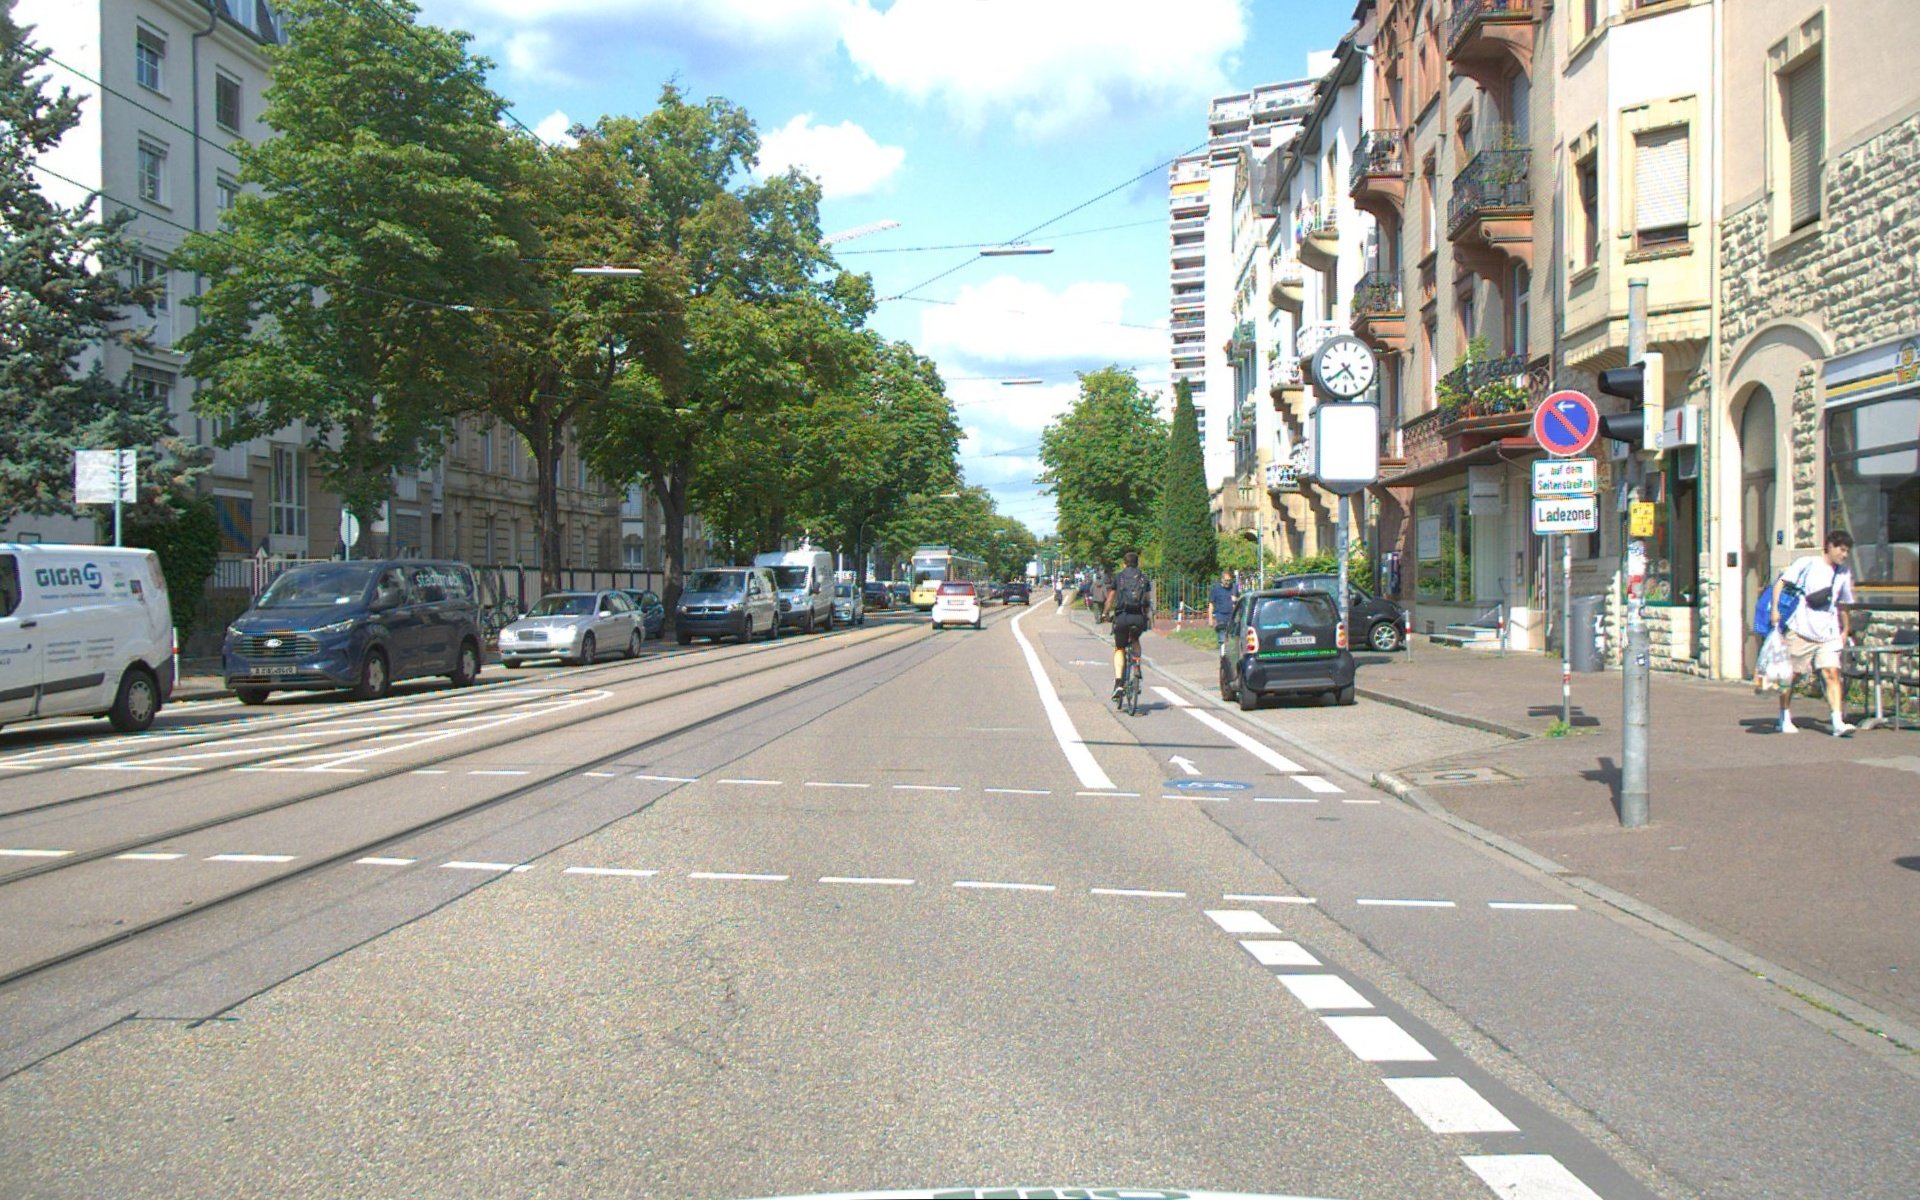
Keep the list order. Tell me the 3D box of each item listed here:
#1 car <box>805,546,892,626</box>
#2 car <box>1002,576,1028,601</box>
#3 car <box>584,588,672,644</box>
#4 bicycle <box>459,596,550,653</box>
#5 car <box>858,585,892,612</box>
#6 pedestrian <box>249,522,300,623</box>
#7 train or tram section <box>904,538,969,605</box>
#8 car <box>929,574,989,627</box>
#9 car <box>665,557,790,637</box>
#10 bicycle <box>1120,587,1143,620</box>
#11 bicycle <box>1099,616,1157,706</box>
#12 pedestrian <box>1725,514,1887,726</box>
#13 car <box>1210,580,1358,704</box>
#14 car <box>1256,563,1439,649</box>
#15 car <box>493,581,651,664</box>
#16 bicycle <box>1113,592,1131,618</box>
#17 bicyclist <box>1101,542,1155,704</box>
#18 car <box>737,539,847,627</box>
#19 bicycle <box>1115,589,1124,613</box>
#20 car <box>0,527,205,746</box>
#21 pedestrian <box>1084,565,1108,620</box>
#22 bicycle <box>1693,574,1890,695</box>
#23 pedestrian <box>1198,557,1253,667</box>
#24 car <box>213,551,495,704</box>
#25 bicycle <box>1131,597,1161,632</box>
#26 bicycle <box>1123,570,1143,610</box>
[{"bbox_3d":[-3.763,-0.473,56.869,2.267,2.551,6.366,-1,0,3],"label":"car"},{"bbox_3d":[3.771,-0.776,113.634,1.630,1.653,3.622,-1,1,4],"label":"car"},{"bbox_3d":[-9.765,0.468,48.872,1.516,1.545,4.087,1,0,3],"label":"car"},{"bbox_3d":[-11.007,0.597,40.012,2.035,1.332,0.612,1,0,-38],"label":"bicycle"},{"bbox_3d":[-5.583,-0.103,109.295,1.714,1.694,4.723,1,0,3],"label":"car"},{"bbox_3d":[-14.100,-0.556,34.025,0.475,2.049,0.802,1,0,36],"label":"pedestrian"},{"bbox_3d":[-1.225,-1.518,94.569,2.597,3.496,12.321,-2,0,4],"label":"train or tram section"},{"bbox_3d":[-0.004,0.007,54.691,1.630,1.653,3.623,1,0,5],"label":"car"},{"bbox_3d":[-6.058,-0.075,43.740,1.944,1.997,5.183,0,0,8],"label":"car"},{"bbox_3d":[6.578,0.135,63.548,0.725,1.252,2.517,0,0,3],"label":"bicycle"},{"bbox_3d":[2.126,0.773,21.107,0.603,1.063,1.836,-4,-2,4],"label":"bicycle"},{"bbox_3d":[7.513,0.166,14.738,0.989,1.799,0.850,-2,1,5],"label":"pedestrian"},{"bbox_3d":[4.380,0.527,22.691,1.482,1.525,2.795,-3,0,2],"label":"car"},{"bbox_3d":[7.772,0.118,33.439,3.329,1.550,1.973,-2,0,6],"label":"car"},{"bbox_3d":[-7.682,0.398,33.193,1.657,1.506,4.485,-1,1,6],"label":"car"},{"bbox_3d":[6.566,0.194,67.028,0.598,1.013,2.363,-3,0,3],"label":"bicycle"},{"bbox_3d":[2.133,0.284,21.050,0.594,1.982,1.131,1,0,4],"label":"bicyclist"},{"bbox_3d":[-5.116,-0.552,51.341,2.267,2.551,6.367,-1,1,4],"label":"car"},{"bbox_3d":[7.539,0.060,78.221,0.273,1.128,2.012,-4,0,4],"label":"bicycle"},{"bbox_3d":[-9.817,0.389,16.359,1.952,2.029,5.092,-3,0,5],"label":"car"},{"bbox_3d":[4.754,-0.261,57.878,0.772,1.894,0.580,0,0,-3],"label":"pedestrian"},{"bbox_3d":[8.961,0.349,17.988,0.788,1.198,2.752,1,0,1],"label":"bicycle"},{"bbox_3d":[4.701,0.212,29.293,0.646,1.873,0.873,-4,0,-4],"label":"pedestrian"},{"bbox_3d":[-8.701,0.364,24.325,1.887,1.950,5.126,-2,0,4],"label":"car"},{"bbox_3d":[5.702,0.432,50.856,0.587,0.977,3.067,-4,0,1],"label":"bicycle"},{"bbox_3d":[5.768,-0.328,55.115,0.442,1.283,1.844,-3,0,1],"label":"bicycle"}]
